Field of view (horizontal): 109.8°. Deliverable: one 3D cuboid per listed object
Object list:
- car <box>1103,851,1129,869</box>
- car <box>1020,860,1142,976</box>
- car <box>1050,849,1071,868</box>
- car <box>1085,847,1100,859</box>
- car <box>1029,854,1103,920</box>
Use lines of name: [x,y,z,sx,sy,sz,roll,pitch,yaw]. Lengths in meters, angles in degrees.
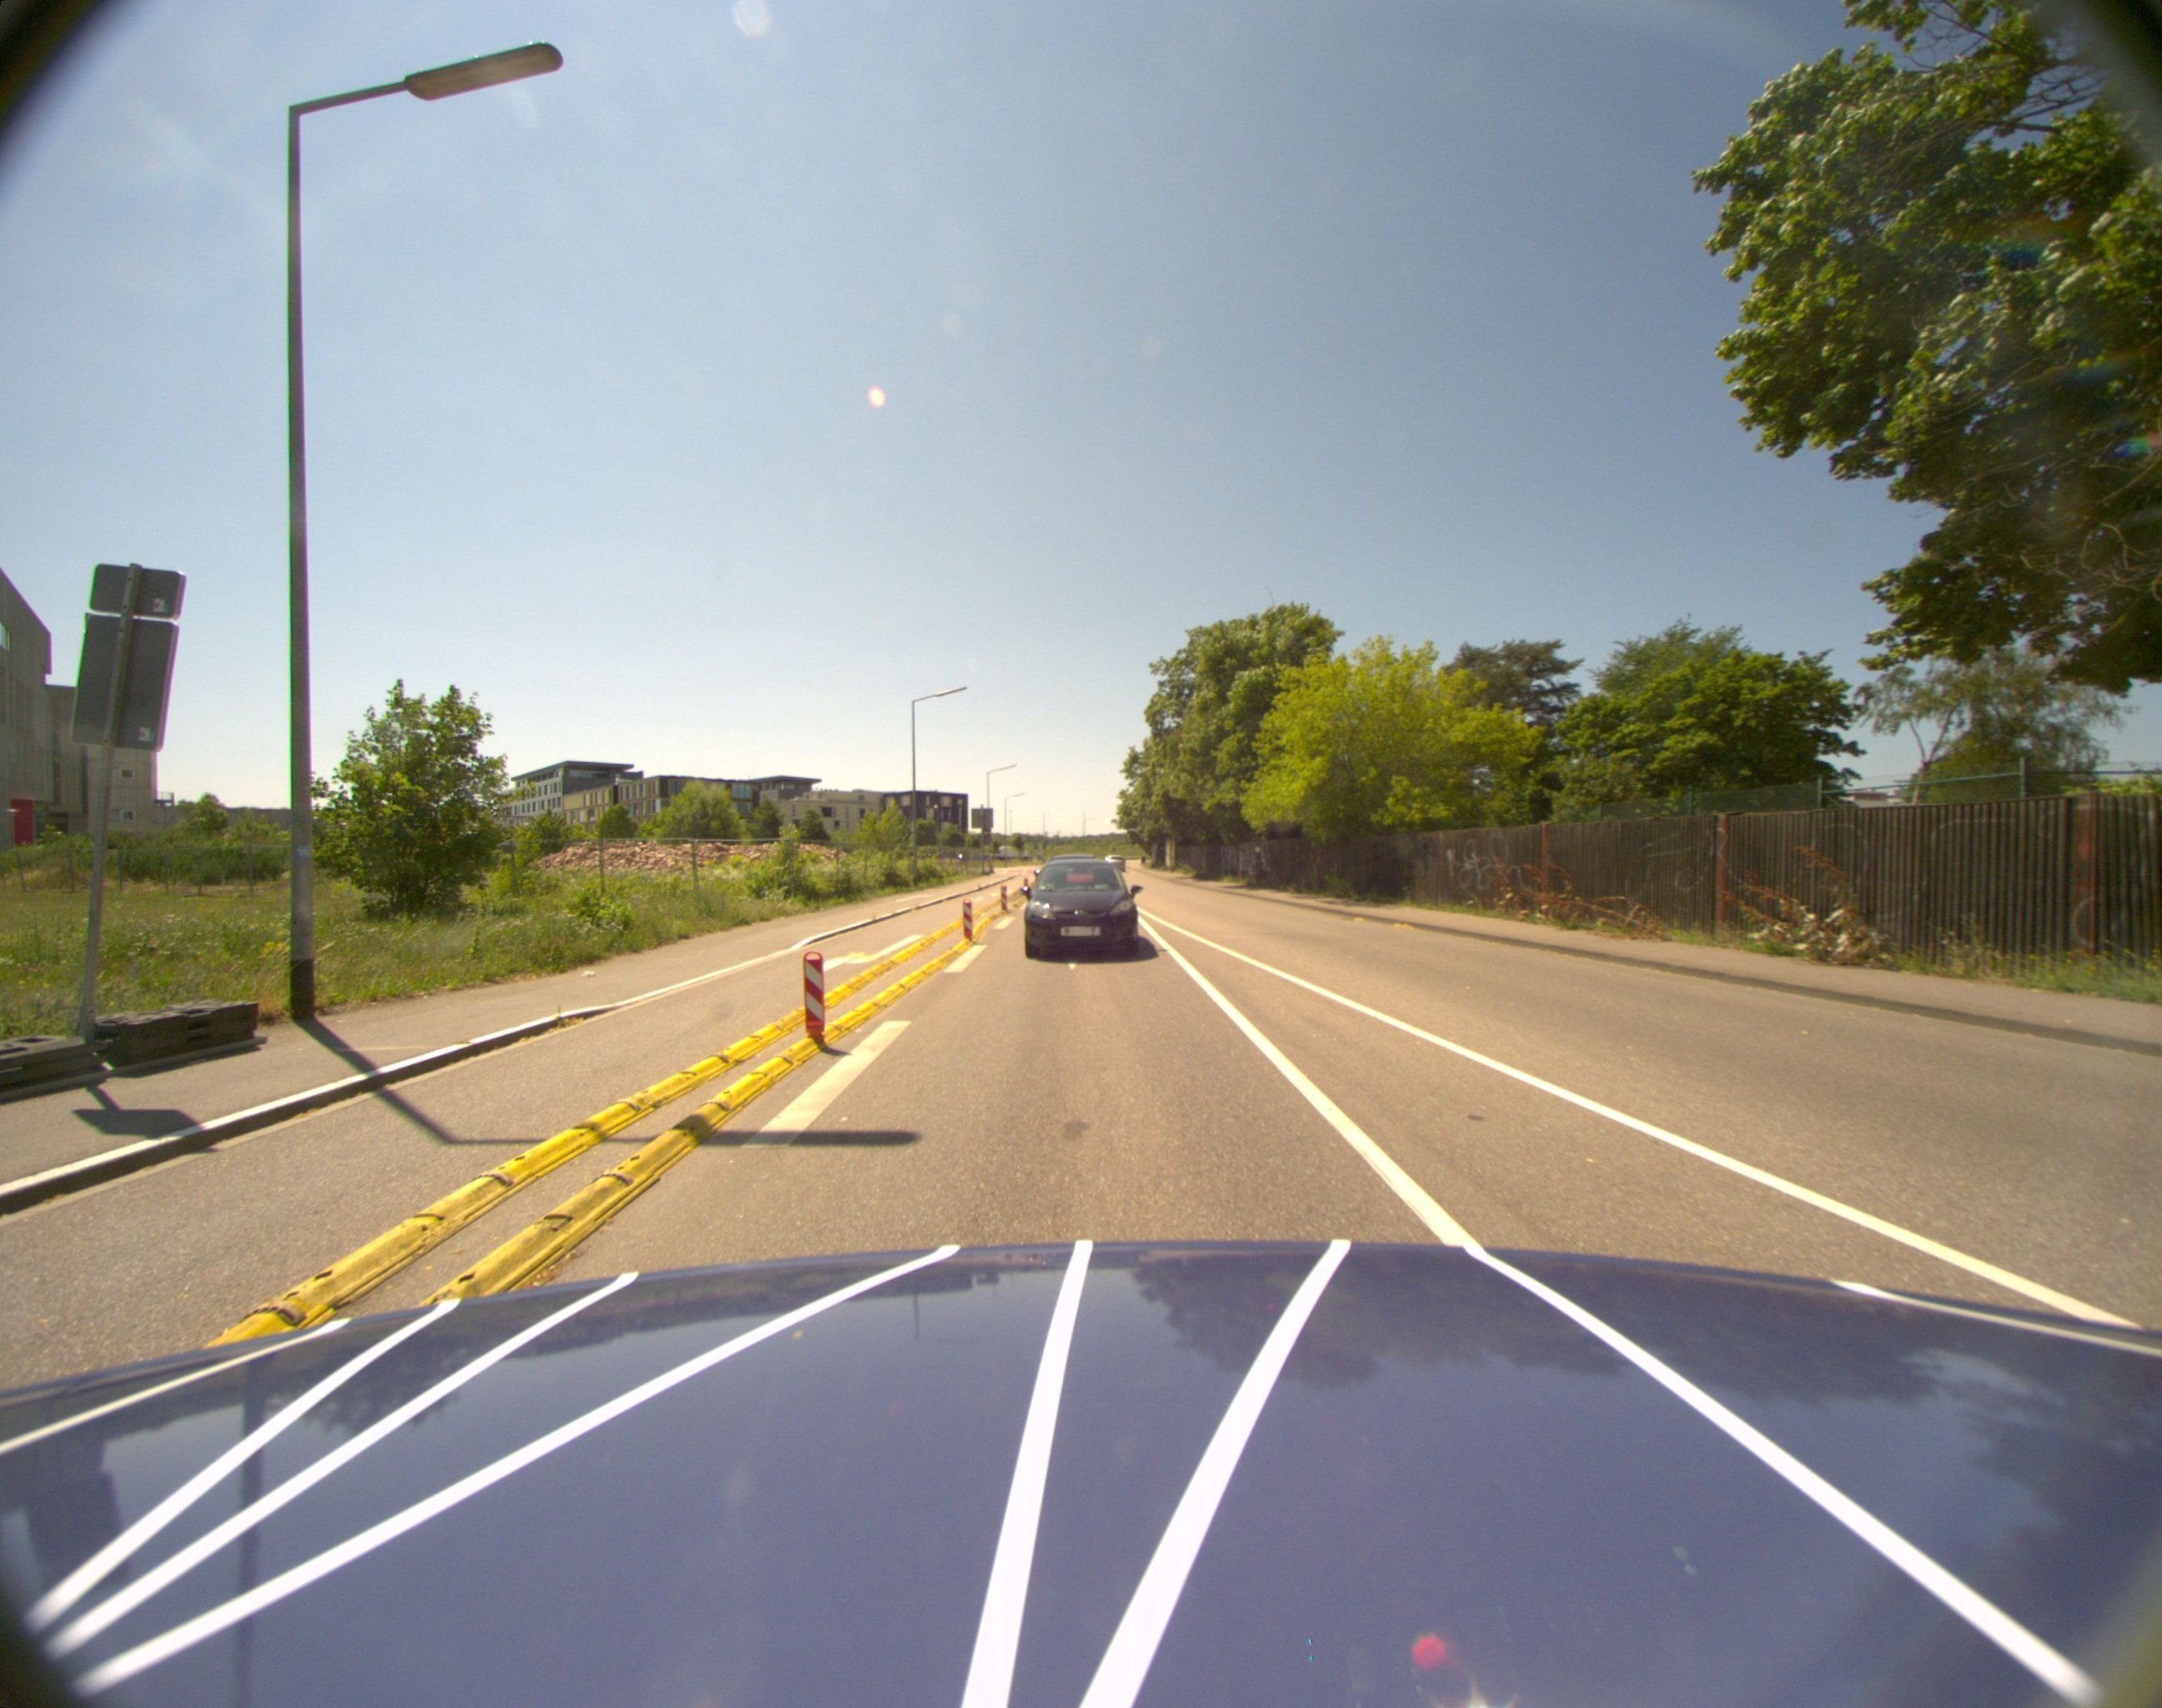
car: [3.054,0.518,67.244,1.719,1.455,3.841,1,0,-5]
car: [0.017,0.874,12.093,1.632,1.499,3.819,0,0,1]
car: [-1.755,0.386,64.926,1.759,1.536,3.693,0,0,-2]
car: [1.488,-0.124,99.465,1.759,1.536,3.693,0,0,-2]
car: [-0.330,0.782,19.875,1.720,1.518,4.211,0,0,1]
